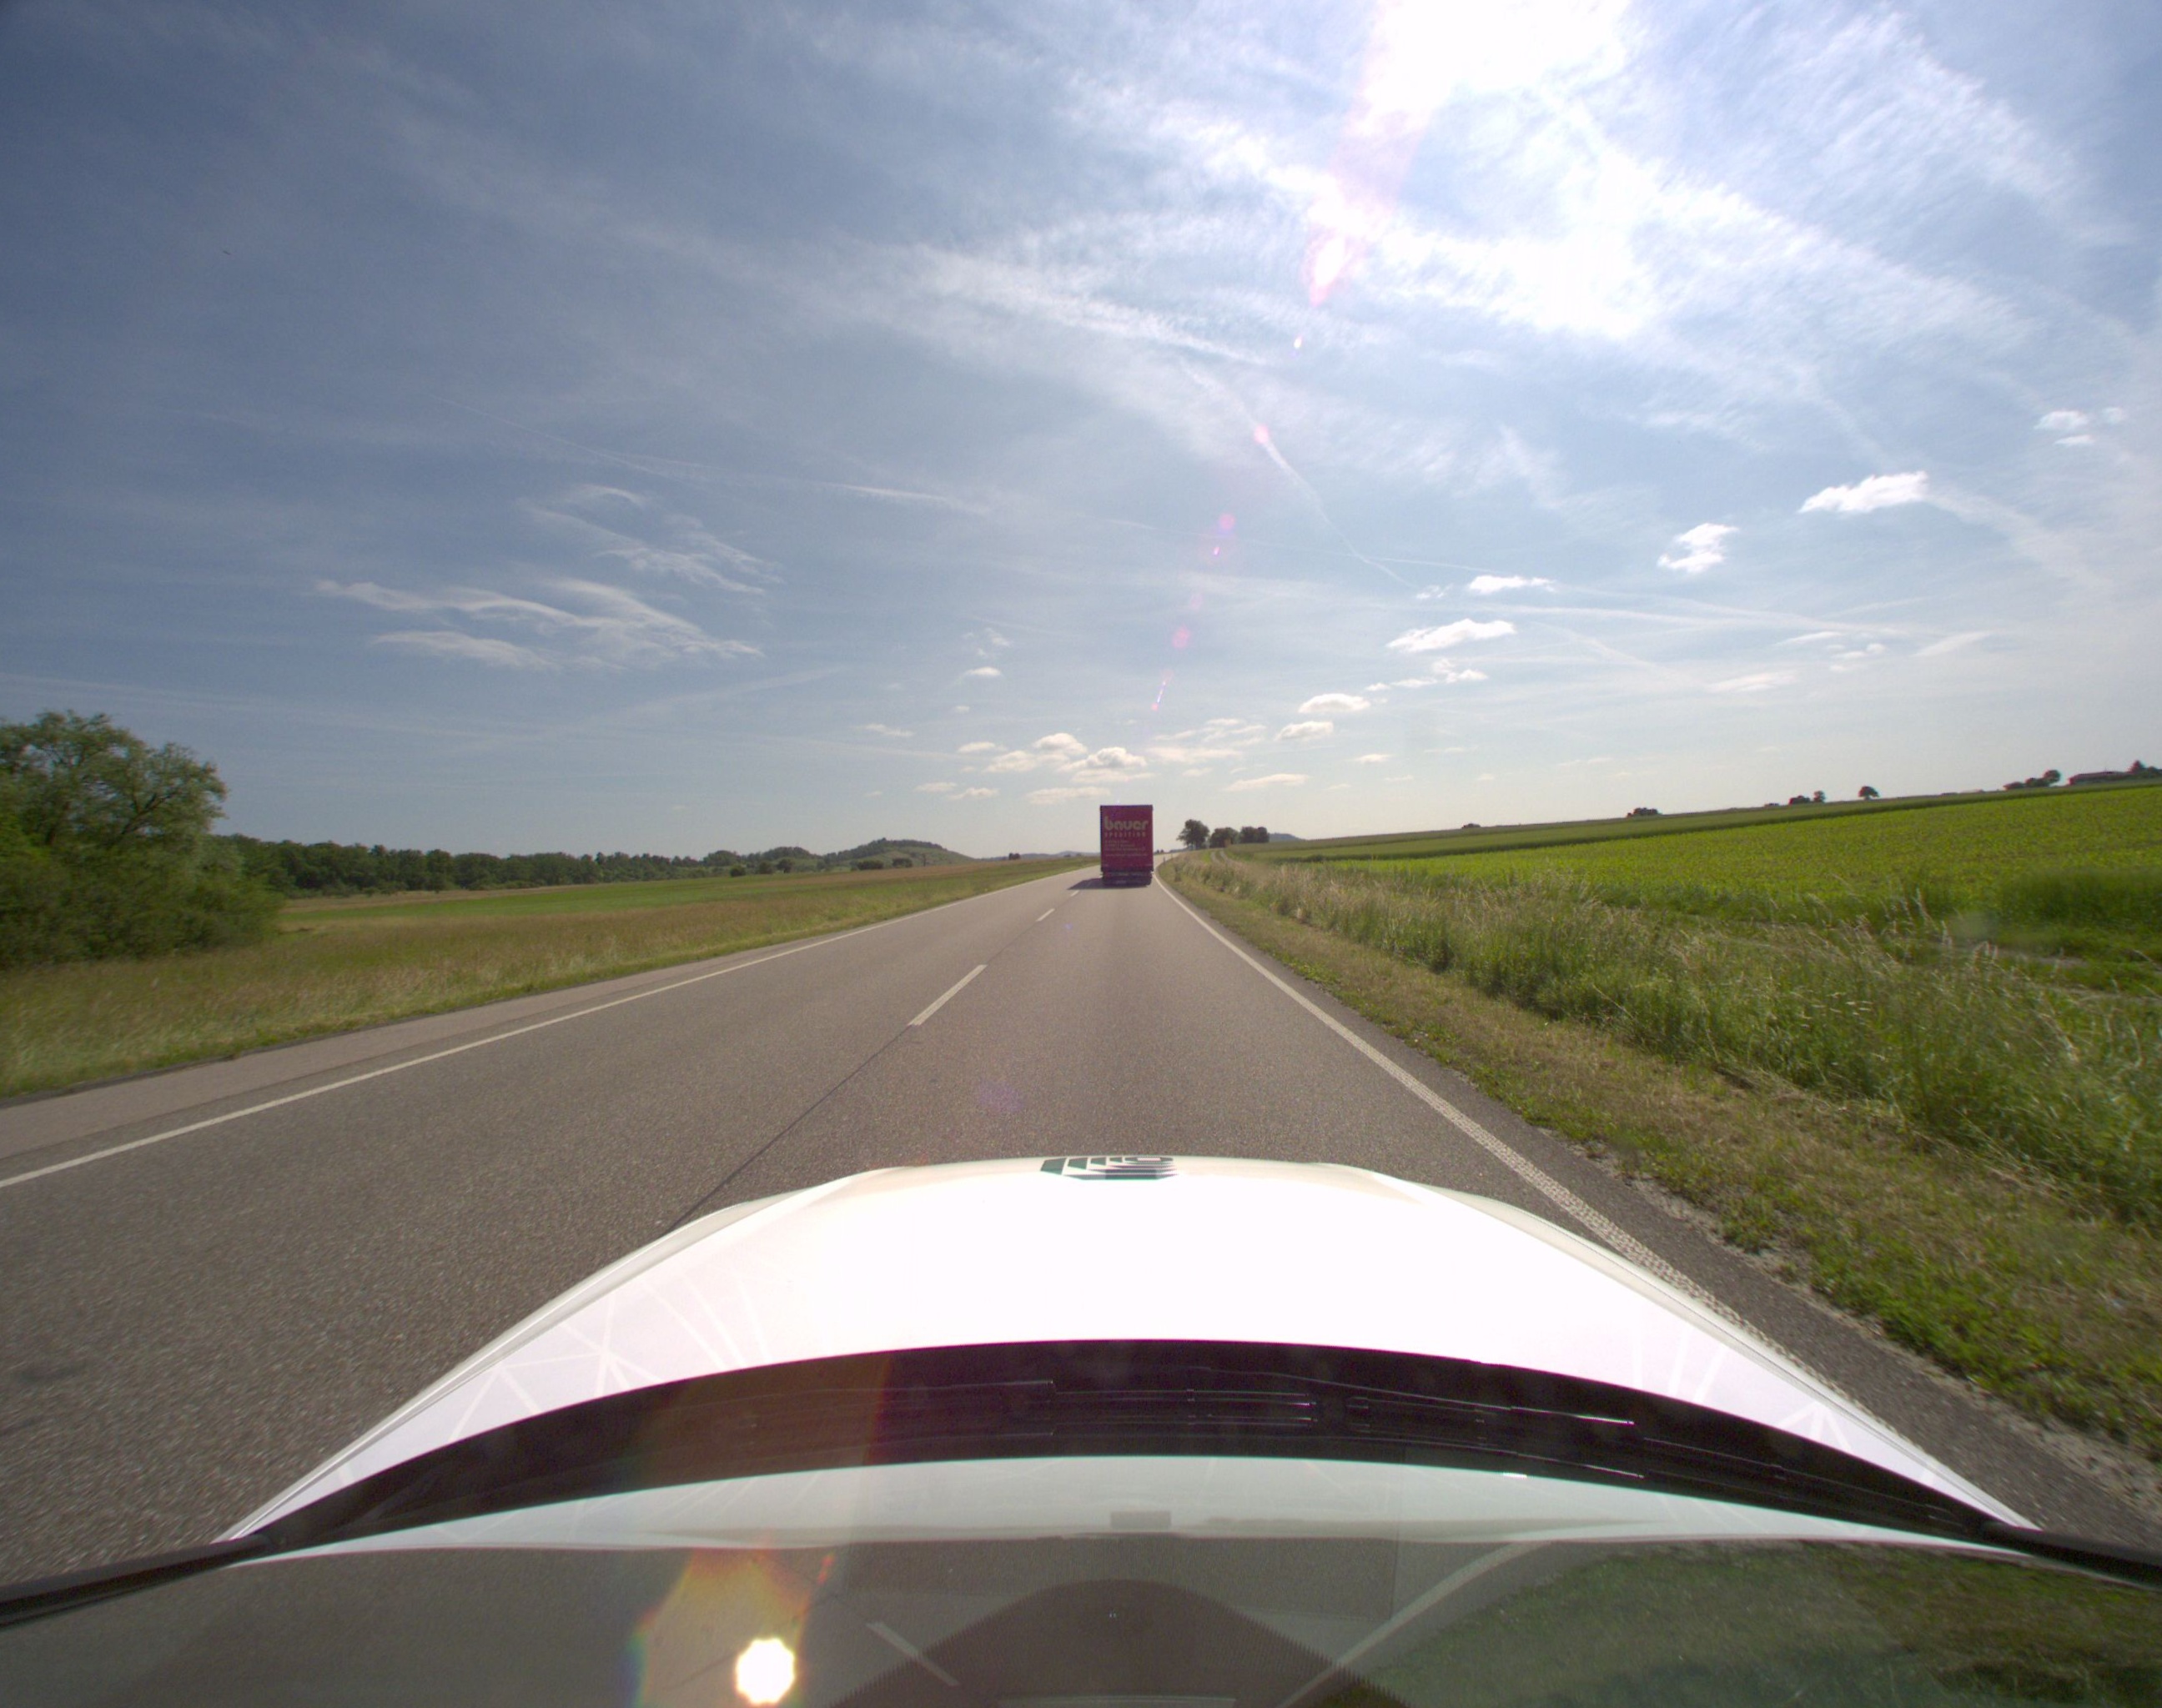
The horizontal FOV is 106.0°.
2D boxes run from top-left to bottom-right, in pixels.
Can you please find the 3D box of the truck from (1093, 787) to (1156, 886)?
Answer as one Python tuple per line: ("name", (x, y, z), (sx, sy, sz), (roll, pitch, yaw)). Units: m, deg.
("truck", (2.290, -0.829, 43.506), (2.963, 4.713, 9.372), (1, 0, 3))
